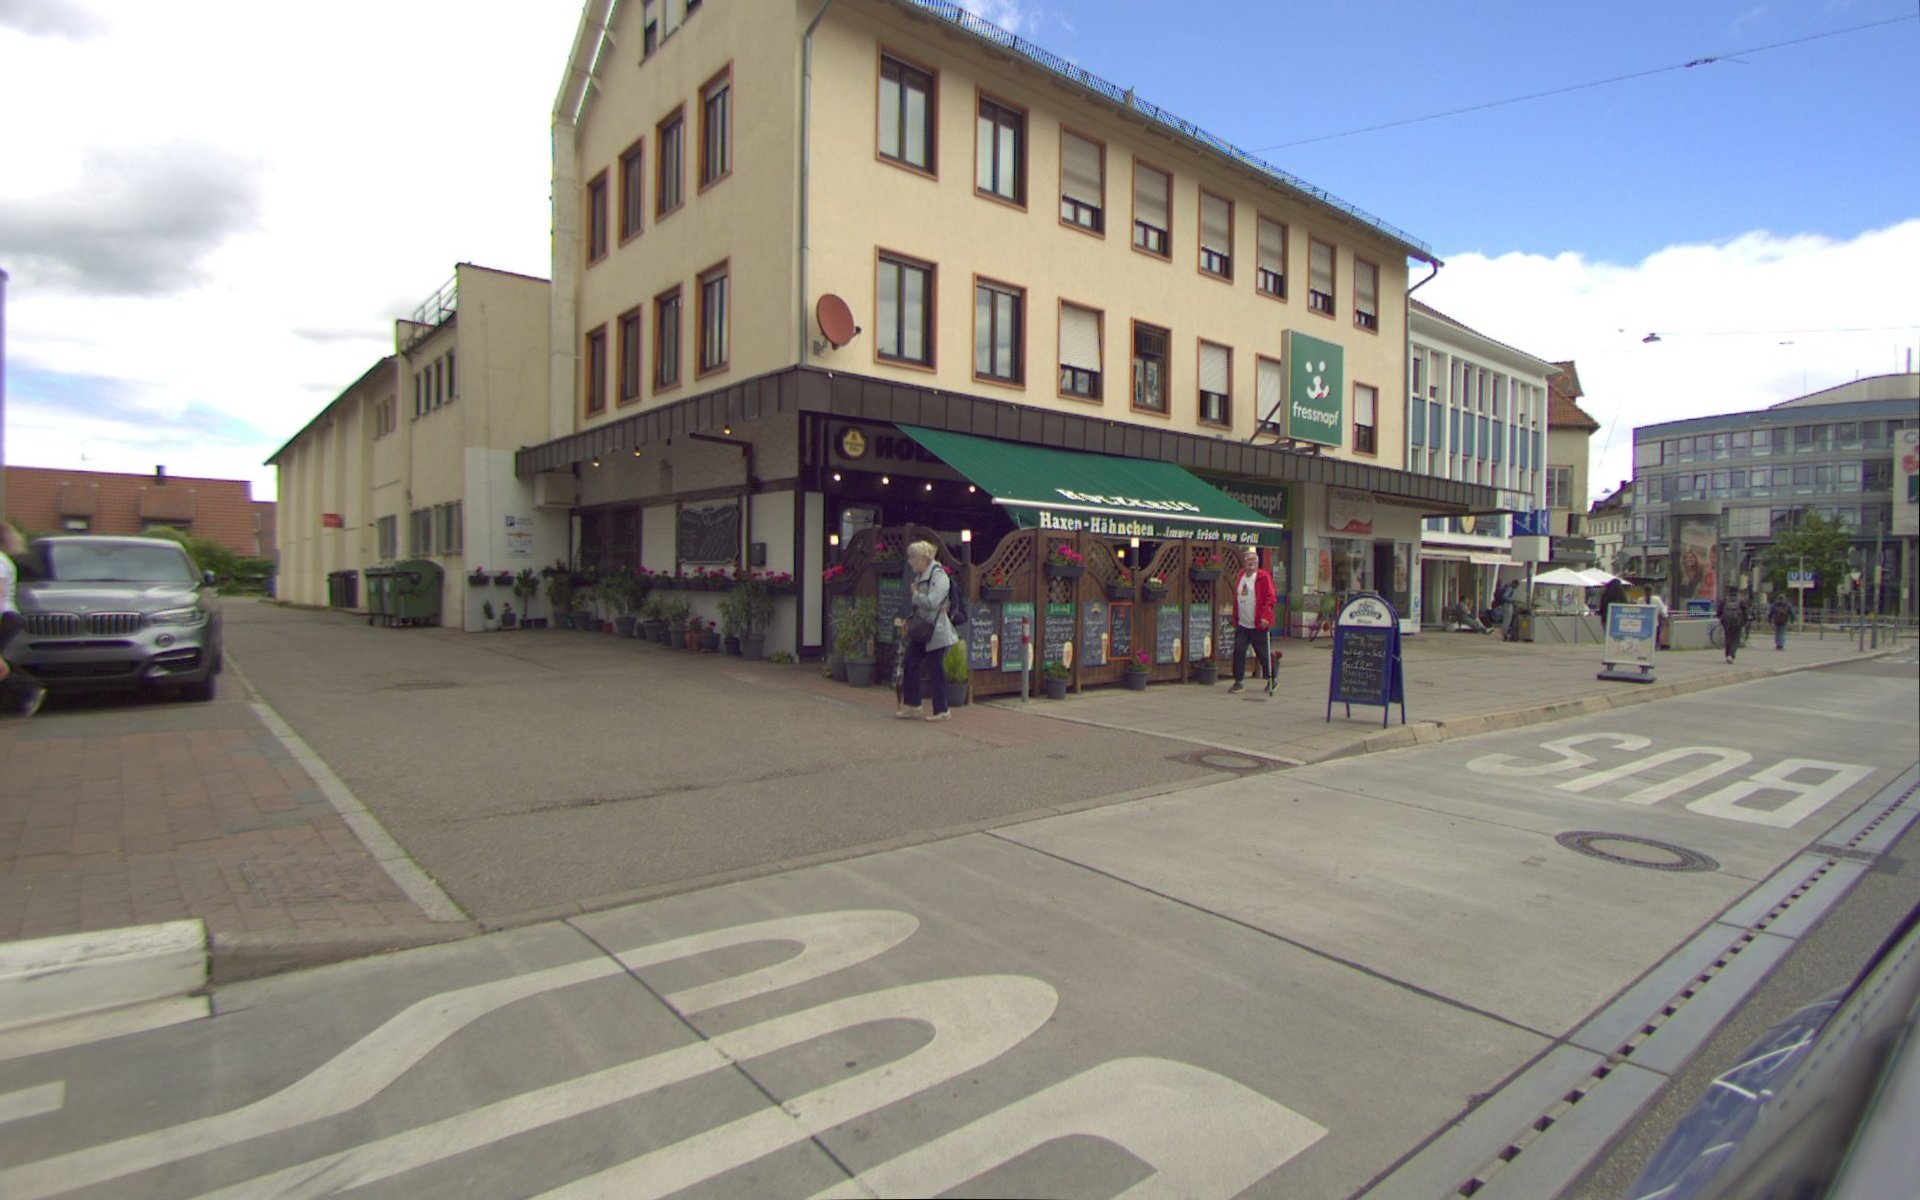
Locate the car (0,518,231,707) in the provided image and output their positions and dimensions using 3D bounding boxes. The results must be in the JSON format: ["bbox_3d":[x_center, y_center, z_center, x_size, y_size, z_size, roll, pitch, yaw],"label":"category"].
[{"bbox_3d":[-9.101,0.088,11.047,1.845,1.640,4.619,0,0,-36],"label":"car"}]

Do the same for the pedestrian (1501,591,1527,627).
[{"bbox_3d":[19.546,0.329,35.705,0.578,1.235,0.614,1,1,-43],"label":"pedestrian"}]

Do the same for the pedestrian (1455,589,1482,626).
[{"bbox_3d":[17.158,0.270,34.177,0.578,1.236,0.613,1,-3,-42],"label":"pedestrian"}]

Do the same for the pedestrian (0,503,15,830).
[{"bbox_3d":[-5.324,0.327,5.099,0.780,1.655,0.614,1,0,-42],"label":"pedestrian"}]

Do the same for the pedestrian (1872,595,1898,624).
[{"bbox_3d":[53.977,0.568,59.078,0.834,1.656,0.641,-2,-2,17],"label":"pedestrian"}]

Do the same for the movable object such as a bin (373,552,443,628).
[{"bbox_3d":[-11.848,-0.210,21.713,1.098,1.583,1.106,1,0,-40],"label":"movable object such as a bin"}]

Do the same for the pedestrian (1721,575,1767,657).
[{"bbox_3d":[16.584,0.322,21.405,0.604,1.699,0.613,1,1,-38],"label":"pedestrian"}]

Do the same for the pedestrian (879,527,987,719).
[{"bbox_3d":[-0.266,0.188,9.808,0.683,1.763,0.769,4,4,44],"label":"pedestrian"}]

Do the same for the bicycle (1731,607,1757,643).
[{"bbox_3d":[22.397,0.704,28.914,1.362,0.986,0.274,1,0,-40],"label":"bicycle"}]

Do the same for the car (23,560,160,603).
[{"bbox_3d":[-32.925,-0.674,38.503,3.880,1.526,1.835,0,0,-39],"label":"car"}]

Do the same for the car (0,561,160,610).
[{"bbox_3d":[-28.692,-0.455,33.158,3.880,1.526,1.835,0,0,-39],"label":"car"}]

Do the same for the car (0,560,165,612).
[{"bbox_3d":[-27.071,-0.412,31.305,3.880,1.526,1.835,0,0,-39],"label":"car"}]

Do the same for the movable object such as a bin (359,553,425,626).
[{"bbox_3d":[-12.774,-0.235,22.764,1.098,1.583,1.106,1,0,-40],"label":"movable object such as a bin"}]

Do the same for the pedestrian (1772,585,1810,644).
[{"bbox_3d":[23.996,0.408,29.224,0.838,1.655,0.689,1,0,-41],"label":"pedestrian"}]

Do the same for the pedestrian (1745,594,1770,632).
[{"bbox_3d":[35.260,0.569,44.771,0.580,1.643,0.740,-2,-2,18],"label":"pedestrian"}]

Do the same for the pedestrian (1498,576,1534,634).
[{"bbox_3d":[16.087,0.136,29.278,0.787,1.655,0.667,1,0,-43],"label":"pedestrian"}]

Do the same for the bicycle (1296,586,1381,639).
[{"bbox_3d":[8.259,0.256,22.046,2.311,1.076,0.742,0,2,-42],"label":"bicycle"}]

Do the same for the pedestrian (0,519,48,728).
[{"bbox_3d":[-7.839,0.181,8.214,0.604,1.655,0.587,1,0,-40],"label":"pedestrian"}]

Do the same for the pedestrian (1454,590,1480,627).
[{"bbox_3d":[17.471,0.292,34.882,0.578,1.235,0.614,1,-1,-43],"label":"pedestrian"}]

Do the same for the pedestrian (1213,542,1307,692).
[{"bbox_3d":[3.708,0.180,12.515,0.795,1.763,0.770,4,4,44],"label":"pedestrian"}]

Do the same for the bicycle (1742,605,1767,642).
[{"bbox_3d":[23.477,0.681,29.909,1.362,1.066,0.274,1,0,-40],"label":"bicycle"}]

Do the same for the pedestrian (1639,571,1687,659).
[{"bbox_3d":[13.580,0.279,19.539,0.604,1.655,0.613,0,2,-43],"label":"pedestrian"}]

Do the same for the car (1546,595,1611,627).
[{"bbox_3d":[38.967,0.676,63.925,1.850,1.919,4.912,0,0,11],"label":"car"}]

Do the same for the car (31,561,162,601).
[{"bbox_3d":[-34.307,-0.716,40.346,3.880,1.526,1.835,0,0,-39],"label":"car"}]

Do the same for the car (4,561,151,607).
[{"bbox_3d":[-31.372,-0.551,36.134,3.880,1.526,1.835,0,0,-39],"label":"car"}]

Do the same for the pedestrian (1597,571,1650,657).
[{"bbox_3d":[13.175,0.255,20.093,0.604,1.655,0.719,0,2,-43],"label":"pedestrian"}]
